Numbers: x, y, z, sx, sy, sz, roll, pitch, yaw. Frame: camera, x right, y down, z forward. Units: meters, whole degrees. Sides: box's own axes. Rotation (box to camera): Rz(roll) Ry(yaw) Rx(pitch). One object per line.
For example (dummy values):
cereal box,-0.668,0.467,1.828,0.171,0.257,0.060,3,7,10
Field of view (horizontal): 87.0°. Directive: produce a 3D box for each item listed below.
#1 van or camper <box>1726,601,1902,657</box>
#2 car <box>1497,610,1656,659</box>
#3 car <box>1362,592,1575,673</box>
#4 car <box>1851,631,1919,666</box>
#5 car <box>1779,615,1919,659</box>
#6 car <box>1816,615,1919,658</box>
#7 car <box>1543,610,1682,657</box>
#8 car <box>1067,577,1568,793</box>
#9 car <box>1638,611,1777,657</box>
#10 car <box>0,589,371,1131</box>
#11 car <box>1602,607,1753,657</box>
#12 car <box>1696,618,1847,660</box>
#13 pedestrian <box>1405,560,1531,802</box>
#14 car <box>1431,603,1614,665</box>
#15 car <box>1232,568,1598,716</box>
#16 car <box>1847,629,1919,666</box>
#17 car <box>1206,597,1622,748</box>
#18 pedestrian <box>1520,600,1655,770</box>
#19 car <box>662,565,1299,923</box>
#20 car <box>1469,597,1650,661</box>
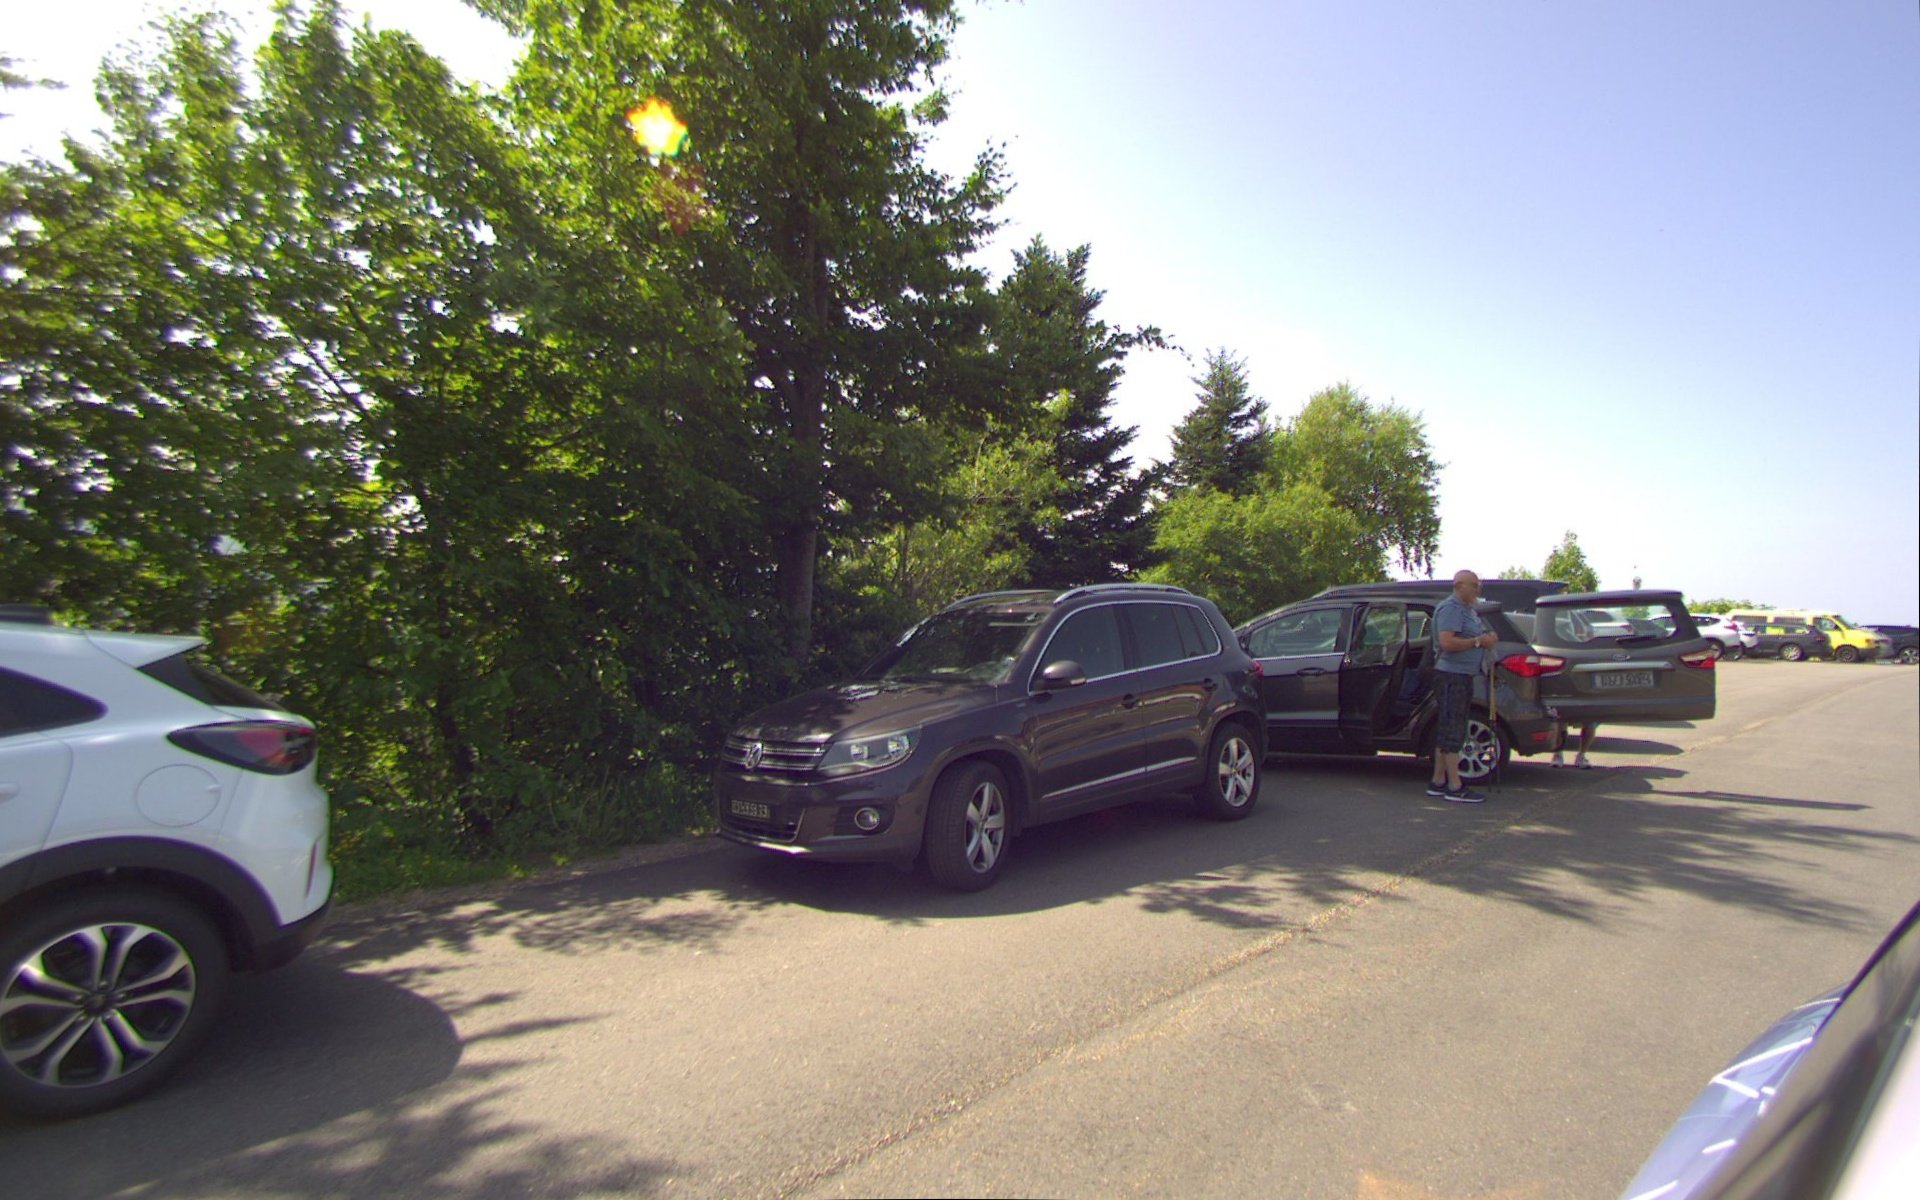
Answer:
van or camper,33.888,1.130,40.305,1.847,2.040,5.103,3,-2,-37
car,19.598,1.071,32.362,4.001,1.480,1.882,0,-1,20
car,11.563,0.705,23.391,4.223,1.716,1.976,0,-1,22
car,45.849,2.369,48.757,4.395,1.588,1.878,1,-2,43
car,36.639,1.511,41.763,1.673,1.609,4.161,3,-1,-38
car,39.082,1.558,43.063,3.987,1.634,1.886,2,-1,43
car,21.979,1.118,34.261,3.768,1.478,1.647,0,-1,26
car,3.199,0.742,9.543,3.951,1.683,1.986,-2,-1,21
car,27.733,1.229,37.683,4.075,1.519,1.918,1,0,37
car,-4.069,0.771,2.768,3.983,1.537,1.680,0,-2,-44
car,25.345,1.105,35.937,4.147,1.671,1.872,0,-1,29
car,31.212,1.483,39.010,1.781,1.507,4.354,4,-3,-43
pedestrian,3.906,0.600,7.814,0.620,1.783,0.581,0,-1,-7
car,15.009,0.887,27.224,3.943,1.569,1.811,0,-1,16
car,6.668,0.556,15.130,4.731,1.904,1.946,0,-1,30
car,43.119,2.184,46.067,3.981,1.529,1.816,2,-1,39
car,4.894,0.710,11.393,3.952,1.461,1.826,0,-1,22
pedestrian,5.711,0.747,9.222,0.656,1.420,0.776,3,1,-36
car,0.383,0.690,6.782,4.236,1.653,1.745,0,-2,-43
car,17.475,0.833,29.708,4.160,1.716,1.857,1,-1,11
